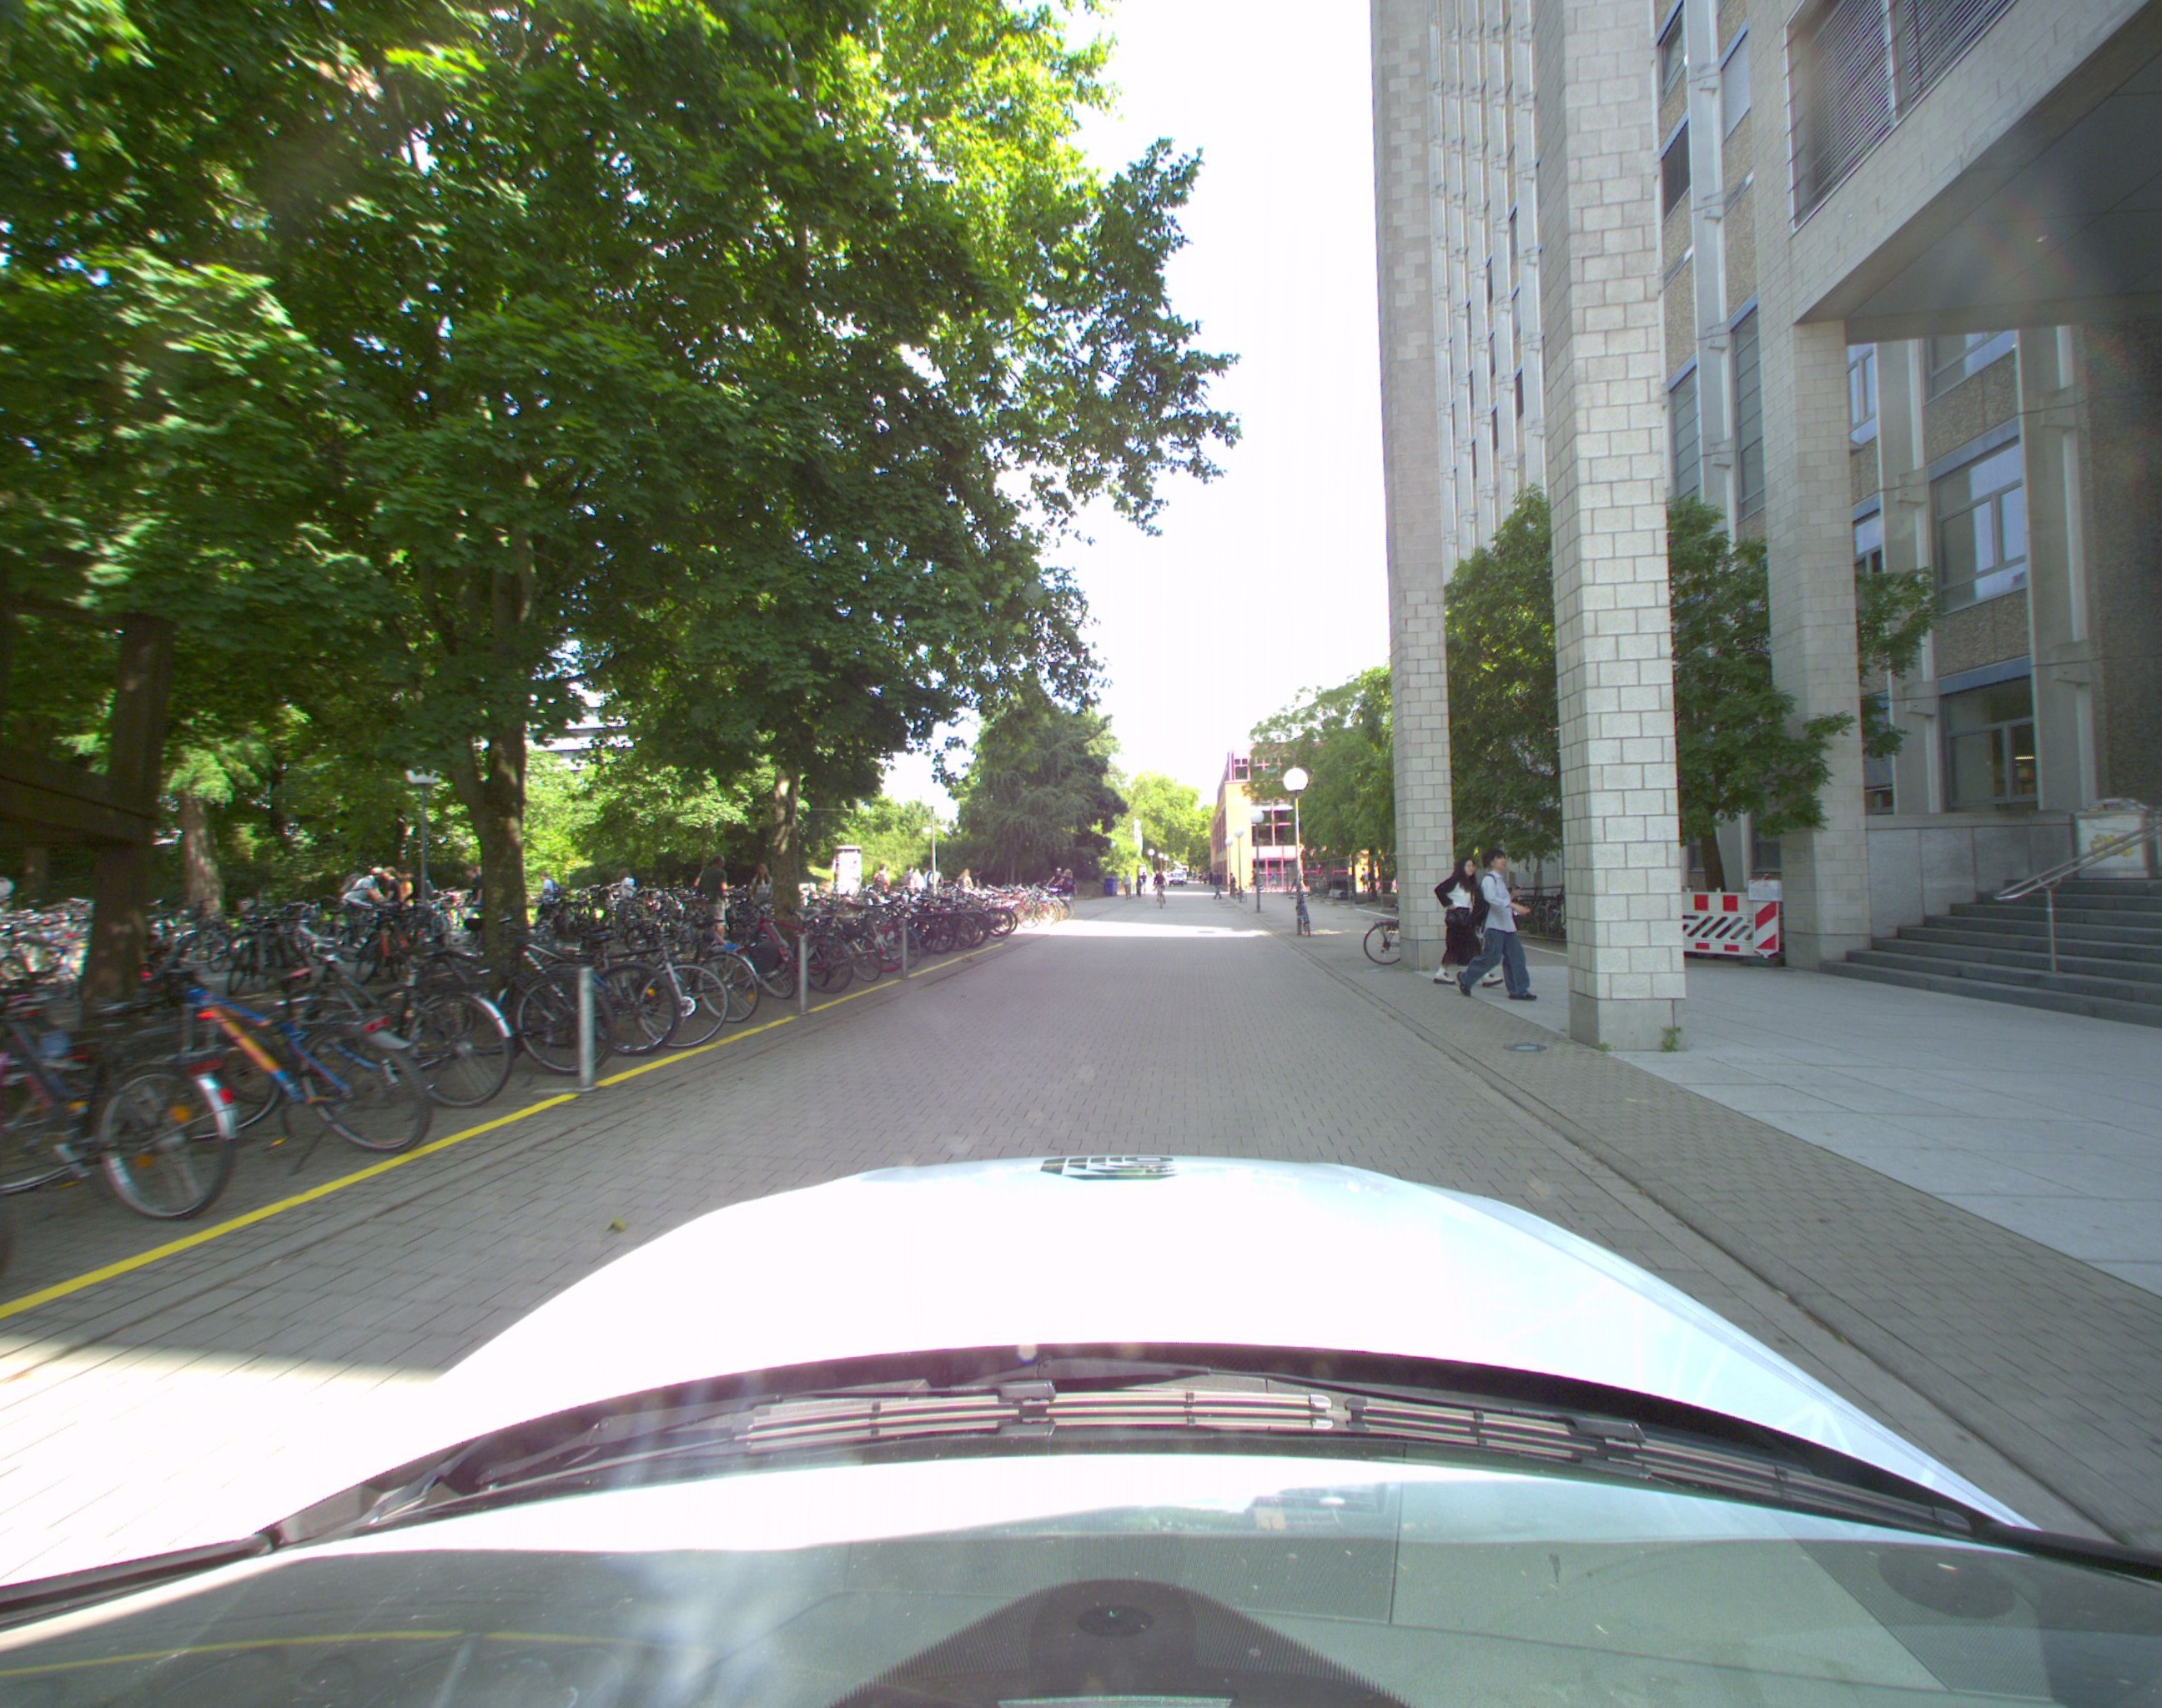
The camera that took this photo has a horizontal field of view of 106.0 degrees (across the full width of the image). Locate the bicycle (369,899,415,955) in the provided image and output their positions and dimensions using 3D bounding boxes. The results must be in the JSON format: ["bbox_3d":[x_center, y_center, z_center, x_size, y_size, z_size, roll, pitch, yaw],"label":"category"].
[{"bbox_3d":[-14.679,1.534,17.366,0.476,1.084,1.682,1,-2,-31],"label":"bicycle"}]

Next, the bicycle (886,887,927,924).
[{"bbox_3d":[-5.364,1.559,25.004,0.476,1.084,1.679,1,-2,-41],"label":"bicycle"}]

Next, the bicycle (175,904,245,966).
[{"bbox_3d":[-16.958,1.549,15.886,0.476,1.084,1.682,1,-2,-31],"label":"bicycle"}]

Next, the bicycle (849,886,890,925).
[{"bbox_3d":[-6.283,1.504,24.119,0.476,1.084,1.679,1,-2,-41],"label":"bicycle"}]

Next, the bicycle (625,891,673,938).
[{"bbox_3d":[-10.613,1.460,19.985,1.678,1.084,0.477,-2,-2,42],"label":"bicycle"}]

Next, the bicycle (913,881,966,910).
[{"bbox_3d":[-5.270,1.530,30.384,1.902,1.047,0.540,0,-1,-10],"label":"bicycle"}]

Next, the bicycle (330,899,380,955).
[{"bbox_3d":[-15.207,1.501,17.088,0.476,1.084,1.682,1,-2,-31],"label":"bicycle"}]

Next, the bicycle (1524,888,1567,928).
[{"bbox_3d":[11.208,1.291,19.698,0.289,0.905,1.449,-1,-1,4],"label":"bicycle"}]

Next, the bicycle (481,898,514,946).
[{"bbox_3d":[-13.002,1.494,18.168,0.453,0.962,1.722,1,-2,-31],"label":"bicycle"}]

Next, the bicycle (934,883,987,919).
[{"bbox_3d":[-3.811,1.472,25.659,1.678,1.084,0.477,-1,-2,27],"label":"bicycle"}]

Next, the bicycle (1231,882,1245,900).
[{"bbox_3d":[9.525,2.250,49.573,0.704,1.093,1.752,-1,-1,7],"label":"bicycle"}]

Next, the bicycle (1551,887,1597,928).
[{"bbox_3d":[11.880,1.279,19.661,0.289,0.905,1.449,-1,-1,4],"label":"bicycle"}]

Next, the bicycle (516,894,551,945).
[{"bbox_3d":[-12.676,1.496,18.851,0.476,1.084,1.679,1,-2,-40],"label":"bicycle"}]

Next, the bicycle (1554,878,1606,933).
[{"bbox_3d":[10.679,1.080,17.481,0.289,1.128,1.449,-1,-1,4],"label":"bicycle"}]

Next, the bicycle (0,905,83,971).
[{"bbox_3d":[-18.884,1.493,14.739,0.476,1.084,1.682,1,-2,-31],"label":"bicycle"}]

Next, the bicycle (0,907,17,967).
[{"bbox_3d":[-19.756,1.509,14.437,0.476,1.084,1.682,1,-2,-31],"label":"bicycle"}]

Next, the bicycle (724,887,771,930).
[{"bbox_3d":[-8.894,1.431,21.704,1.678,1.084,0.477,-2,-2,42],"label":"bicycle"}]

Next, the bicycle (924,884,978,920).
[{"bbox_3d":[-4.037,1.481,25.214,1.678,1.084,0.477,-1,-2,27],"label":"bicycle"}]

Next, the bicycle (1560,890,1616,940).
[{"bbox_3d":[10.047,1.185,16.183,0.289,0.905,1.449,-1,-1,4],"label":"bicycle"}]

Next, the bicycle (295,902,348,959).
[{"bbox_3d":[-15.911,1.582,17.089,0.476,1.084,1.682,1,-2,-31],"label":"bicycle"}]

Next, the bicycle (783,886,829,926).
[{"bbox_3d":[-7.676,1.433,22.708,1.678,1.084,0.477,-2,-2,42],"label":"bicycle"}]

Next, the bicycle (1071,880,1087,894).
[{"bbox_3d":[-0.126,2.125,52.488,0.417,0.910,1.749,-1,-3,23],"label":"bicycle"}]

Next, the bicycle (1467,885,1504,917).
[{"bbox_3d":[12.244,1.395,24.684,0.289,0.905,1.618,-1,-1,-1],"label":"bicycle"}]

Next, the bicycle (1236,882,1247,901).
[{"bbox_3d":[8.616,1.989,43.688,0.393,0.936,1.735,-3,-2,7],"label":"bicycle"}]

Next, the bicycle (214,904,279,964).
[{"bbox_3d":[-16.515,1.554,16.148,0.476,1.084,1.682,1,-2,-31],"label":"bicycle"}]

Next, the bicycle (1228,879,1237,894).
[{"bbox_3d":[10.206,2.176,54.913,0.448,0.962,1.743,-4,-2,7],"label":"bicycle"}]

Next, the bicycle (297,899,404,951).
[{"bbox_3d":[-16.387,1.574,18.324,1.706,1.084,0.598,1,-2,-34],"label":"bicycle"}]

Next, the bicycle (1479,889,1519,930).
[{"bbox_3d":[10.064,1.322,19.649,0.289,0.905,1.449,-1,-1,4],"label":"bicycle"}]

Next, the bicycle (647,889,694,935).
[{"bbox_3d":[-10.260,1.432,20.347,1.678,1.084,0.477,-2,-2,42],"label":"bicycle"}]

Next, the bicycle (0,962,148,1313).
[{"bbox_3d":[-4.352,0.976,2.962,1.613,1.108,0.507,-1,-2,12],"label":"bicycle"}]

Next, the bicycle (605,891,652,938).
[{"bbox_3d":[-11.081,1.450,19.932,1.678,1.084,0.477,-2,-2,42],"label":"bicycle"}]

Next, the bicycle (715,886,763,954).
[{"bbox_3d":[-6.559,1.227,15.591,0.578,1.200,1.682,1,-2,-32],"label":"bicycle"}]

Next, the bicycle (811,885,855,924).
[{"bbox_3d":[-7.161,1.432,23.470,0.477,1.084,1.678,2,-2,-44],"label":"bicycle"}]

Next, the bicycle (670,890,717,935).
[{"bbox_3d":[-9.871,1.474,20.713,1.678,1.084,0.477,-2,-2,42],"label":"bicycle"}]

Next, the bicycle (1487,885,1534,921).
[{"bbox_3d":[11.882,1.336,22.573,0.289,0.905,1.804,-1,-1,-1],"label":"bicycle"}]

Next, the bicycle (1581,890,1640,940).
[{"bbox_3d":[10.375,1.178,16.006,0.289,0.905,1.449,-1,-1,4],"label":"bicycle"}]

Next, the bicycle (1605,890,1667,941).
[{"bbox_3d":[10.828,1.176,15.935,0.289,0.905,1.449,-1,-1,4],"label":"bicycle"}]

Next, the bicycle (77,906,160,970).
[{"bbox_3d":[-18.071,1.542,15.327,0.476,1.084,1.682,1,-2,-31],"label":"bicycle"}]

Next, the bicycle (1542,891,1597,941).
[{"bbox_3d":[9.716,1.219,16.231,0.289,0.905,1.449,-1,-1,4],"label":"bicycle"}]

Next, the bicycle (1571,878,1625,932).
[{"bbox_3d":[11.072,1.072,17.486,0.289,1.094,1.449,-1,-1,4],"label":"bicycle"}]

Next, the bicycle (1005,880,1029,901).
[{"bbox_3d":[-3.327,1.901,42.231,0.476,1.047,1.682,3,-2,-33],"label":"bicycle"}]

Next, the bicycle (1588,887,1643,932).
[{"bbox_3d":[11.420,1.176,17.450,0.289,0.887,1.449,-1,-1,4],"label":"bicycle"}]

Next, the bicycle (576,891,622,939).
[{"bbox_3d":[-11.601,1.451,19.580,1.678,1.084,0.477,-2,-2,42],"label":"bicycle"}]

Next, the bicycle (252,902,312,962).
[{"bbox_3d":[-16.108,1.548,16.456,0.476,1.084,1.682,1,-2,-31],"label":"bicycle"}]

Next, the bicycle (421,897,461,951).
[{"bbox_3d":[-14.040,1.515,17.888,0.476,1.084,1.682,1,-2,-31],"label":"bicycle"}]

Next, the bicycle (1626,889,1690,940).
[{"bbox_3d":[11.232,1.160,15.895,0.289,0.905,1.449,-1,-1,4],"label":"bicycle"}]

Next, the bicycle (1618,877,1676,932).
[{"bbox_3d":[12.054,1.049,17.380,0.289,1.099,1.449,-1,-1,4],"label":"bicycle"}]
